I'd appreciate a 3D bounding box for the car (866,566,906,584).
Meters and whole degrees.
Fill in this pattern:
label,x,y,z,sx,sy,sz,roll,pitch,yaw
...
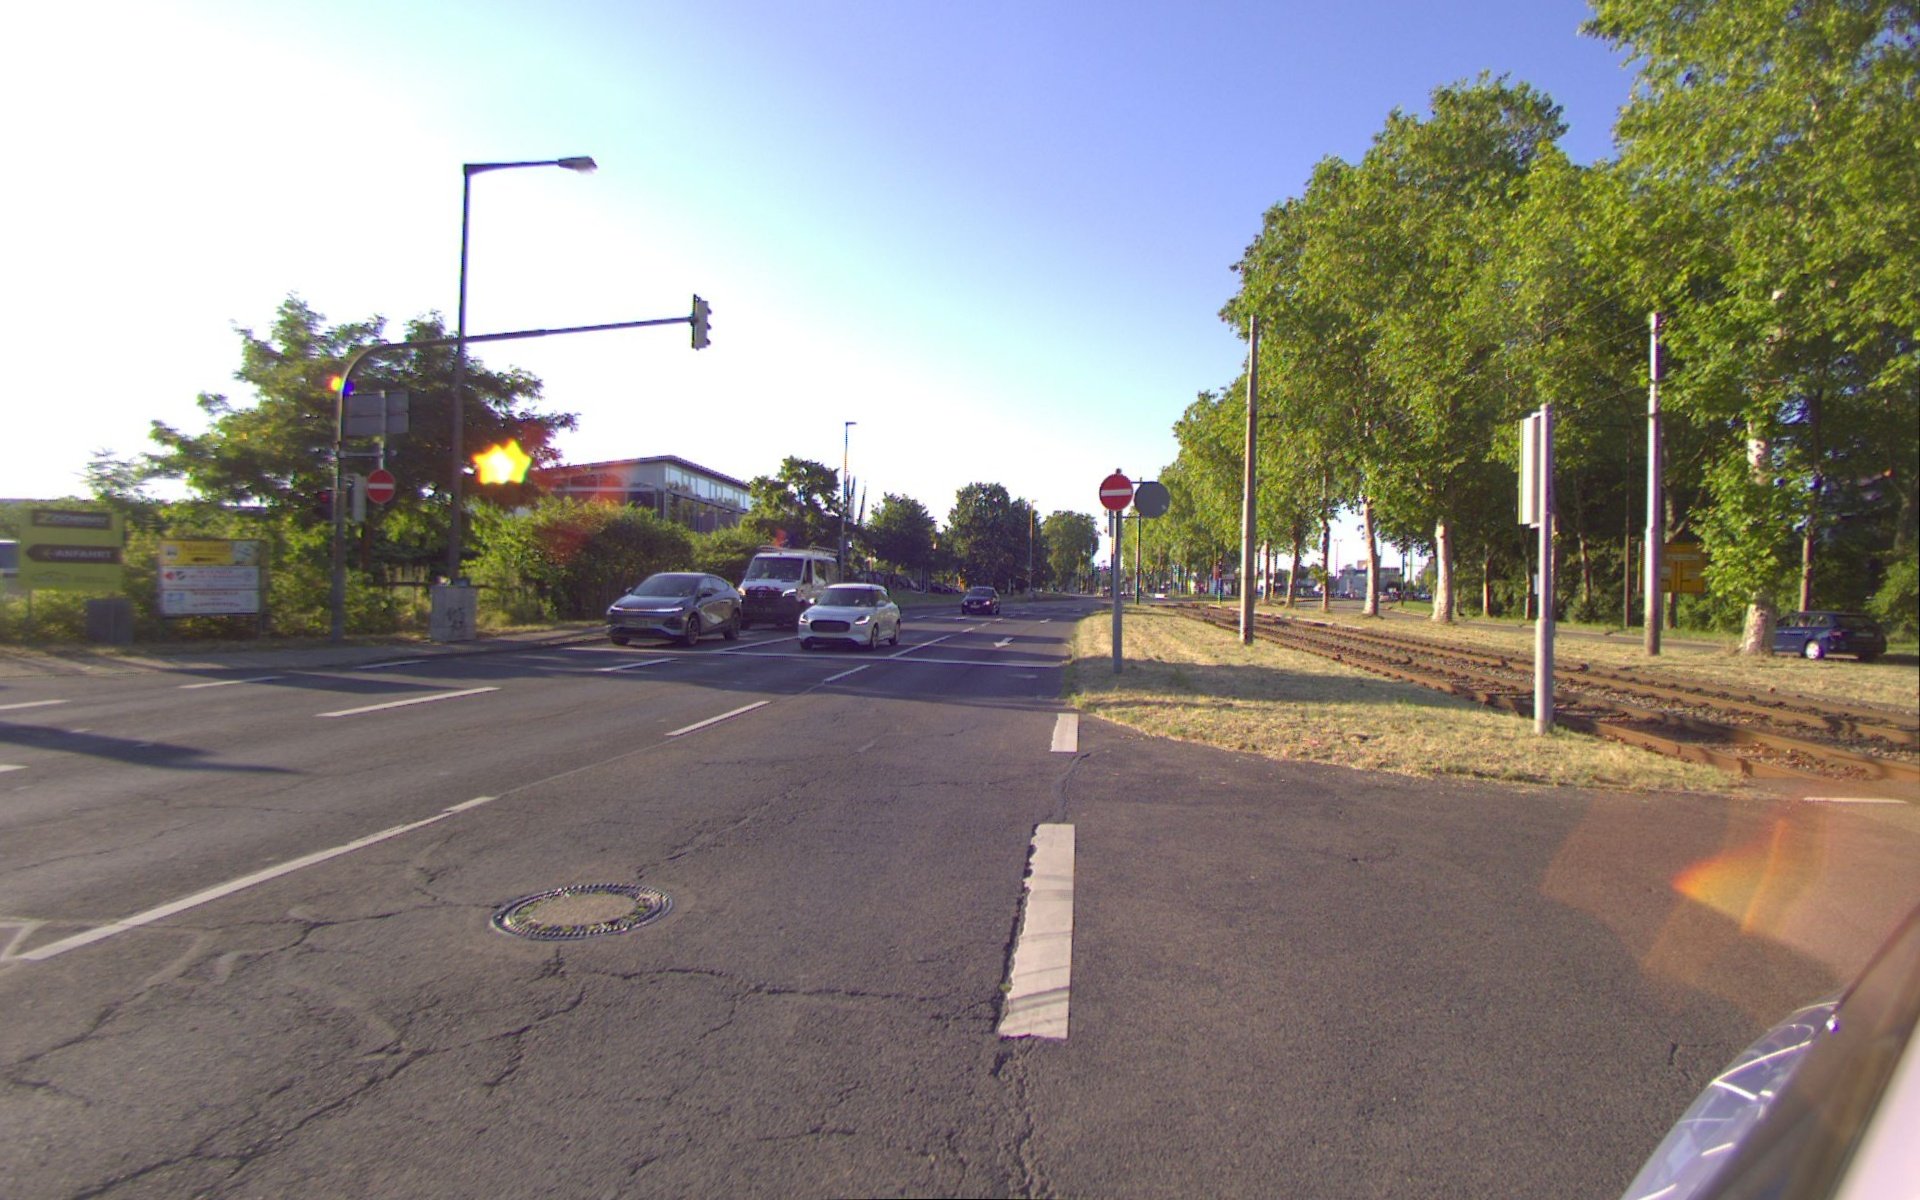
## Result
label,x,y,z,sx,sy,sz,roll,pitch,yaw
car,-7.354,-2.454,100.080,3.720,1.587,1.763,2,0,-11

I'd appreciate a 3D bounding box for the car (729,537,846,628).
label,x,y,z,sx,sy,sz,roll,pitch,yaw
car,-5.390,-0.537,32.559,1.976,2.598,5.863,2,1,8

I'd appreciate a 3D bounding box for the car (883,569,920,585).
label,x,y,z,sx,sy,sz,roll,pitch,yaw
car,-6.272,-2.504,108.961,3.720,1.587,1.763,2,0,-11

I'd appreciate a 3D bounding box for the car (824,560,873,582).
label,x,y,z,sx,sy,sz,roll,pitch,yaw
car,-8.986,-2.324,81.278,3.720,1.587,1.763,2,0,-11

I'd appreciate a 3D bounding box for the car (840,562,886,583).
label,x,y,z,sx,sy,sz,roll,pitch,yaw
car,-8.379,-2.365,87.597,3.720,1.587,1.763,2,0,-11

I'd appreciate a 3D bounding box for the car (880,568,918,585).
label,x,y,z,sx,sy,sz,roll,pitch,yaw
car,-6.386,-2.479,106.164,3.720,1.587,1.763,2,0,-11

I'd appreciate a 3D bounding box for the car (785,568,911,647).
label,x,y,z,sx,sy,sz,roll,pitch,yaw
car,-2.521,0.141,23.817,1.847,1.638,3.987,2,1,11

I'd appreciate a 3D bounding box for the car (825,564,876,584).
label,x,y,z,sx,sy,sz,roll,pitch,yaw
car,-8.494,-1.985,78.495,3.720,1.406,1.763,2,0,-11

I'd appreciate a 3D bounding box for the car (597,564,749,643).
label,x,y,z,sx,sy,sz,roll,pitch,yaw
car,-6.643,0.053,23.994,1.844,1.638,4.539,2,1,7

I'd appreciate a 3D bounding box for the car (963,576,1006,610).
label,x,y,z,sx,sy,sz,roll,pitch,yaw
car,1.338,-0.370,54.043,1.784,1.705,3.990,2,1,9

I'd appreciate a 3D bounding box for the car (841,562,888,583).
label,x,y,z,sx,sy,sz,roll,pitch,yaw
car,-8.049,-2.330,85.378,3.720,1.587,1.763,2,0,-11

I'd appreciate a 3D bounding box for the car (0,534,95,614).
label,x,y,z,sx,sy,sz,roll,pitch,yaw
car,-21.237,-0.585,21.363,2.084,1.669,4.220,2,0,6

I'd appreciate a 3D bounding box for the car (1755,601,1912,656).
label,x,y,z,sx,sy,sz,roll,pitch,yaw
car,26.267,0.804,30.606,1.602,1.460,3.977,2,1,7

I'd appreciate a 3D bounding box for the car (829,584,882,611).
label,x,y,z,sx,sy,sz,roll,pitch,yaw
car,-7.886,-0.202,76.344,3.720,1.883,1.763,2,0,-11
